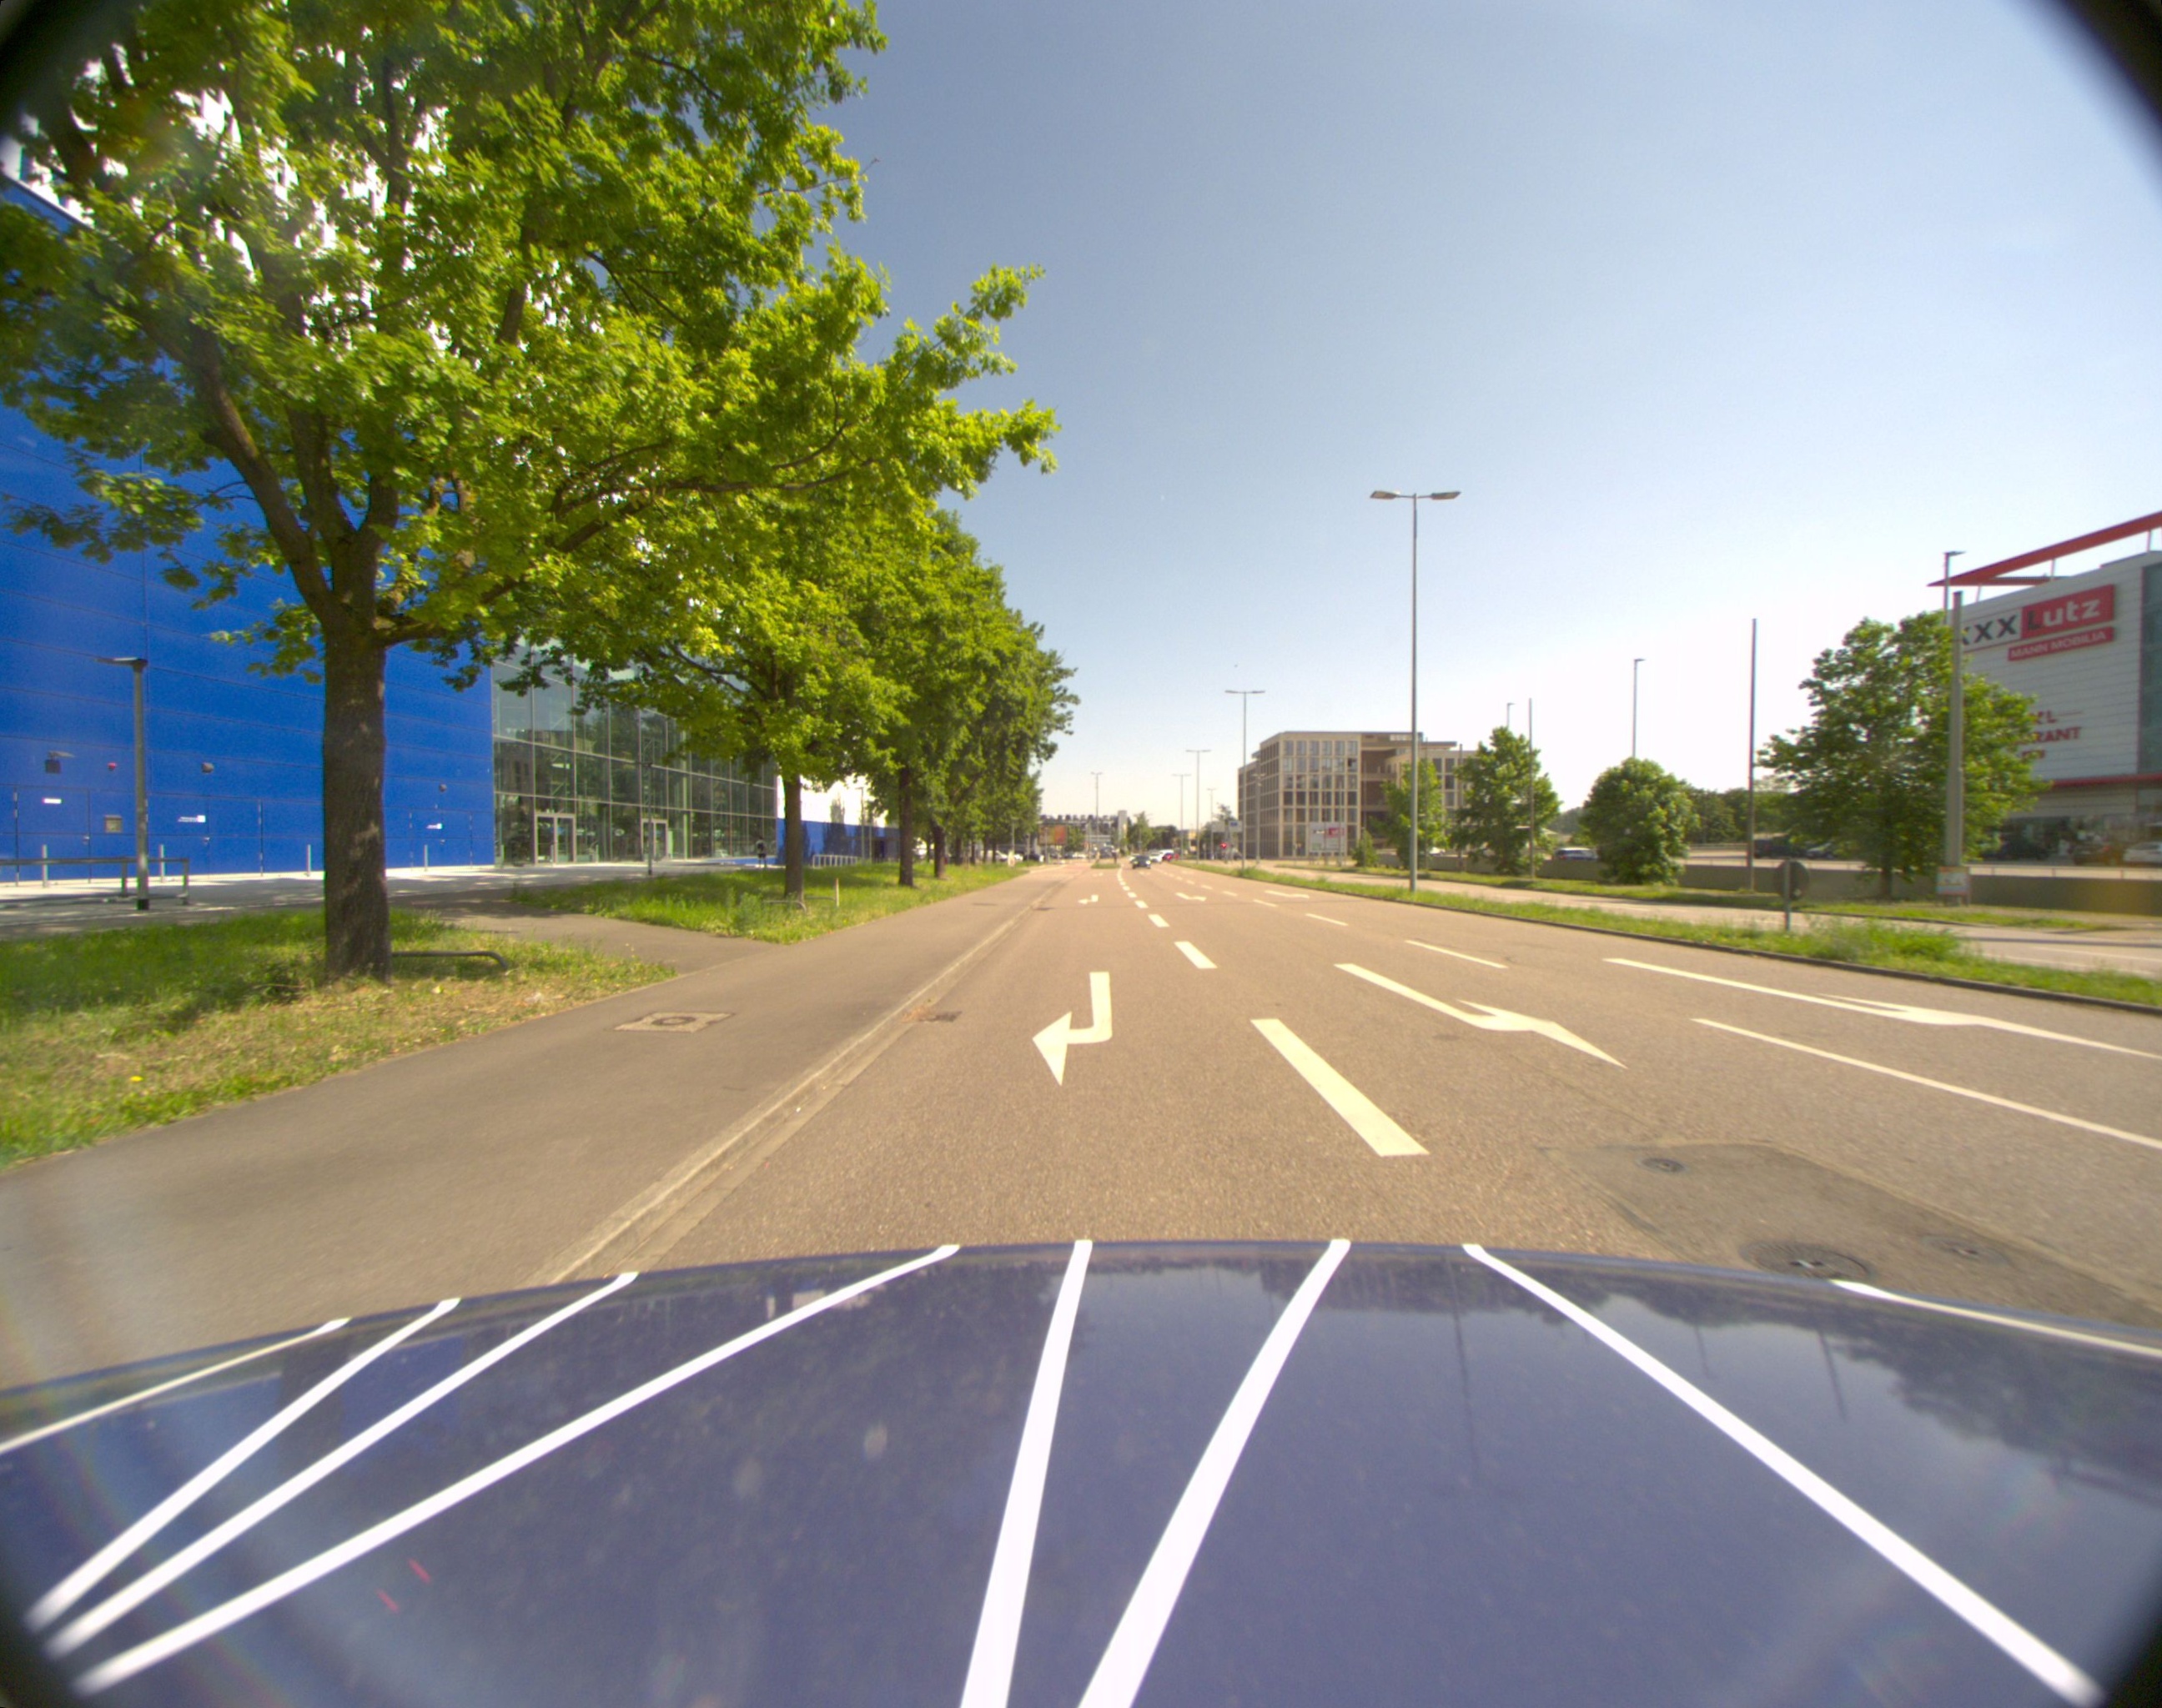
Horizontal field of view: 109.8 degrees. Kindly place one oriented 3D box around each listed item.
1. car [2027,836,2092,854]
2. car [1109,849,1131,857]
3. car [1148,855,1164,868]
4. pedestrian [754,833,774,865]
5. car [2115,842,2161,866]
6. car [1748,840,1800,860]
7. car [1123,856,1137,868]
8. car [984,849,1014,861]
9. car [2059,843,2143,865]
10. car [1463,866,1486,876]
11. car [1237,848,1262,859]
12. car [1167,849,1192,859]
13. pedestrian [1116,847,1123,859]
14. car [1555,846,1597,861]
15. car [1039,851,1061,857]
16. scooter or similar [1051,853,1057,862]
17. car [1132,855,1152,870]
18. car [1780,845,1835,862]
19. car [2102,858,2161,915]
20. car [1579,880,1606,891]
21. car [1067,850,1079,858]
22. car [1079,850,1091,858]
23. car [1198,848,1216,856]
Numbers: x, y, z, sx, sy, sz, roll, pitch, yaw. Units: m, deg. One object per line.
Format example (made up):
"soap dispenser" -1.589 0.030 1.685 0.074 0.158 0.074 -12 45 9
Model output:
"car" 75.698 -0.702 58.799 3.095 1.322 1.515 0 2 0
"car" 7.991 -0.127 154.958 4.478 1.578 1.980 0 1 2
"car" 11.048 1.113 112.396 2.025 1.827 4.311 0 2 2
"pedestrian" -16.579 -0.261 39.737 0.690 1.602 0.771 1 0 -2
"car" 62.570 -0.005 43.976 3.095 1.322 1.703 0 2 0
"car" 62.646 -0.355 68.682 3.095 1.748 1.692 0 2 0
"car" 7.410 1.222 115.265 1.833 1.703 3.765 0 2 1
"car" -13.969 0.114 129.454 4.997 1.996 1.740 0 2 -1
"car" 62.947 0.009 46.932 3.095 1.322 1.515 0 2 0
"car" 42.531 1.843 82.186 1.942 0.970 1.071 0 2 -1
"car" 31.294 -0.104 141.399 4.240 1.878 1.834 0 2 2
"car" 17.614 -0.025 136.478 4.228 1.701 1.904 0 1 -1
"pedestrian" 5.969 -0.182 117.915 0.704 1.769 0.961 1 1 26
"car" 36.999 -0.038 56.813 2.519 1.054 1.071 0 2 -2
"car" -6.288 0.007 152.516 4.348 1.342 1.821 0 1 -1
"scooter or similar" -3.605 0.431 101.123 0.402 1.160 1.185 0 2 18
"car" 6.431 0.903 80.573 1.771 1.456 4.237 0 2 -1
"car" 60.379 -0.056 63.143 3.095 1.322 1.515 0 2 0
"car" 33.365 0.934 22.266 4.424 1.618 1.871 0 1 -1
"car" 50.539 3.076 75.052 1.942 0.970 1.070 0 2 -4
"car" -1.604 -0.028 151.826 1.997 1.452 4.002 0 0 6
"car" 0.853 -0.059 151.948 1.886 1.452 4.001 0 2 6
"car" 30.473 -0.469 183.935 3.990 2.002 2.003 1 1 22
